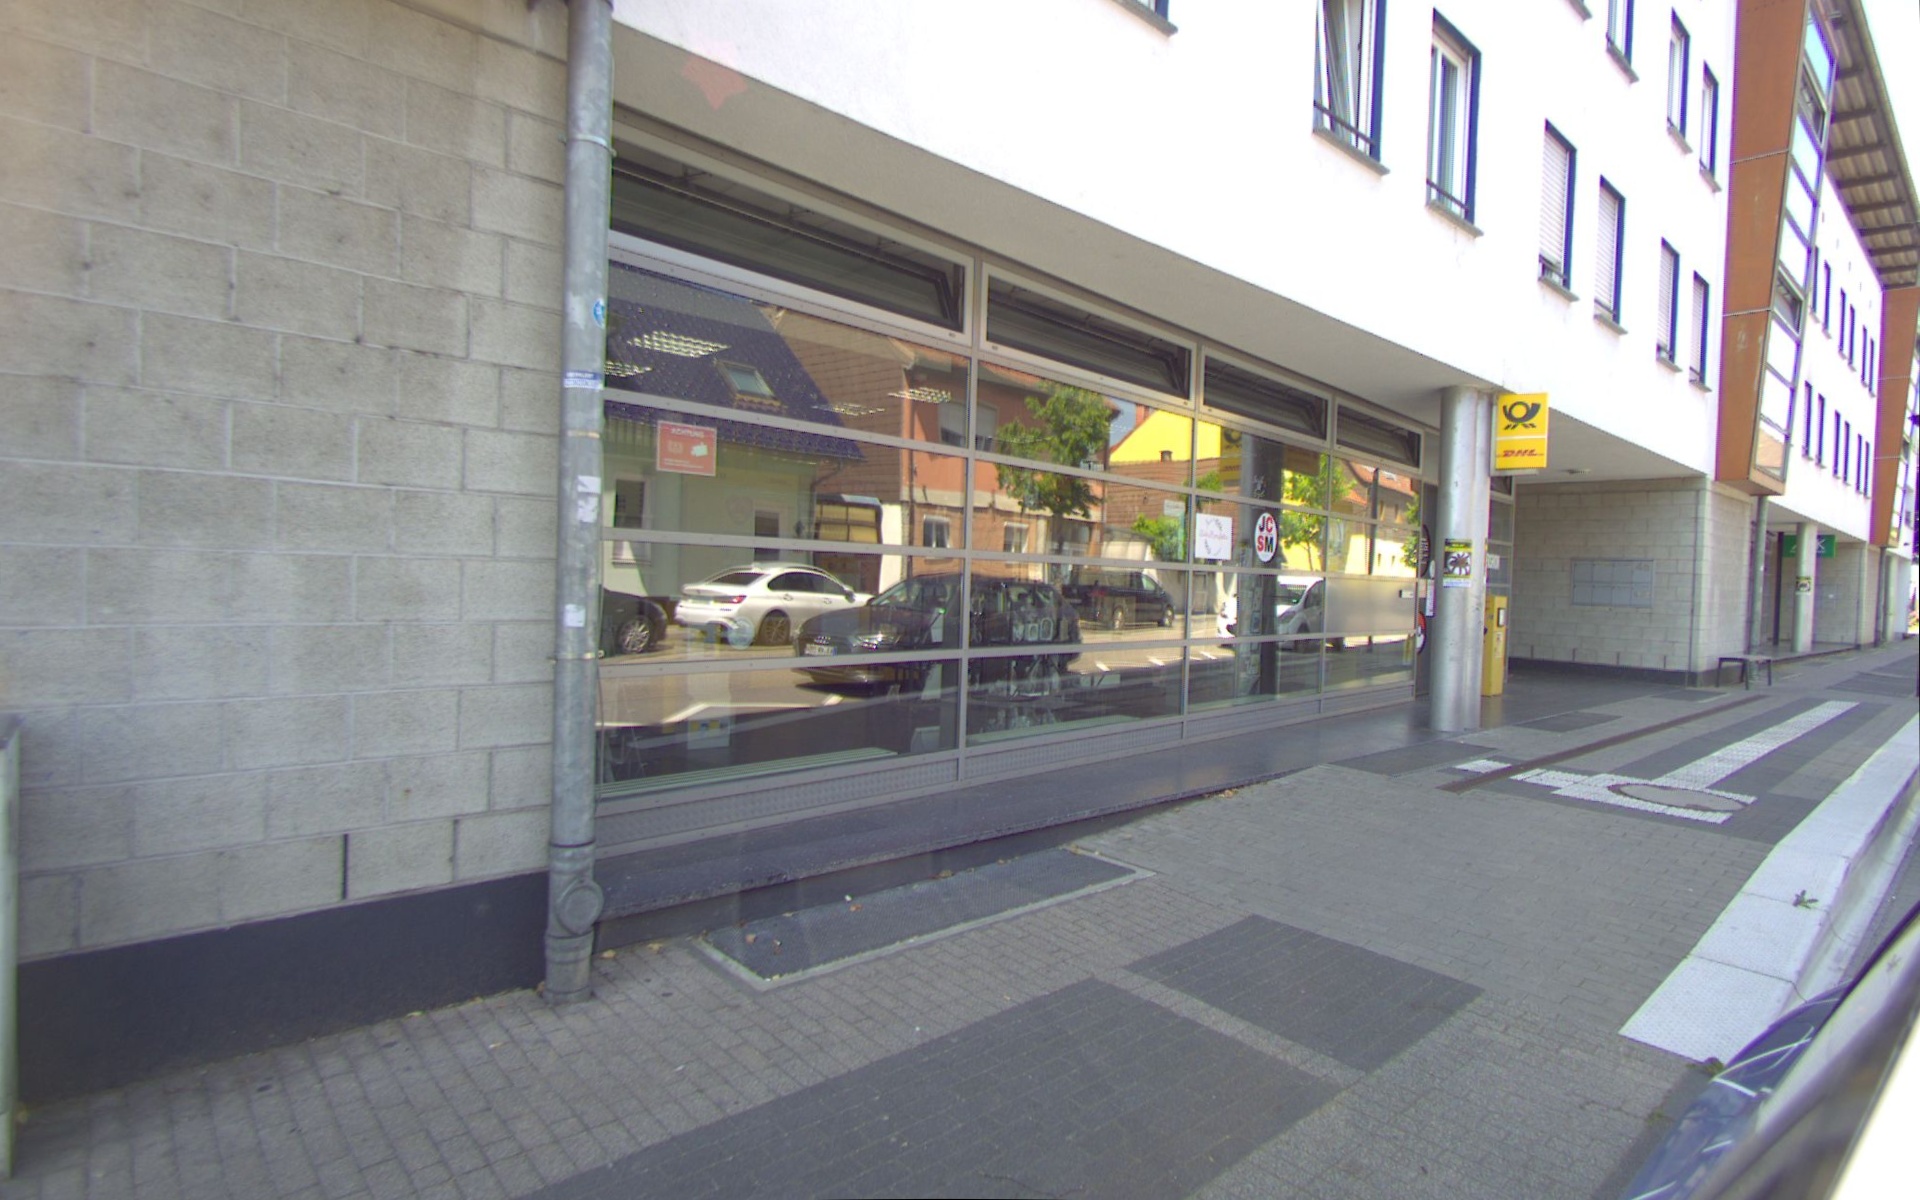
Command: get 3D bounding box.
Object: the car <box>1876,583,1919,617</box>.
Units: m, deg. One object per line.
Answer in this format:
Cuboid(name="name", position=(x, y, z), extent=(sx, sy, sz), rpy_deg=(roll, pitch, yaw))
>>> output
Cuboid(name="car", position=(56.853, 0.078, 59.520), extent=(1.966, 1.882, 4.200), rpy_deg=(0, 3, -42))
